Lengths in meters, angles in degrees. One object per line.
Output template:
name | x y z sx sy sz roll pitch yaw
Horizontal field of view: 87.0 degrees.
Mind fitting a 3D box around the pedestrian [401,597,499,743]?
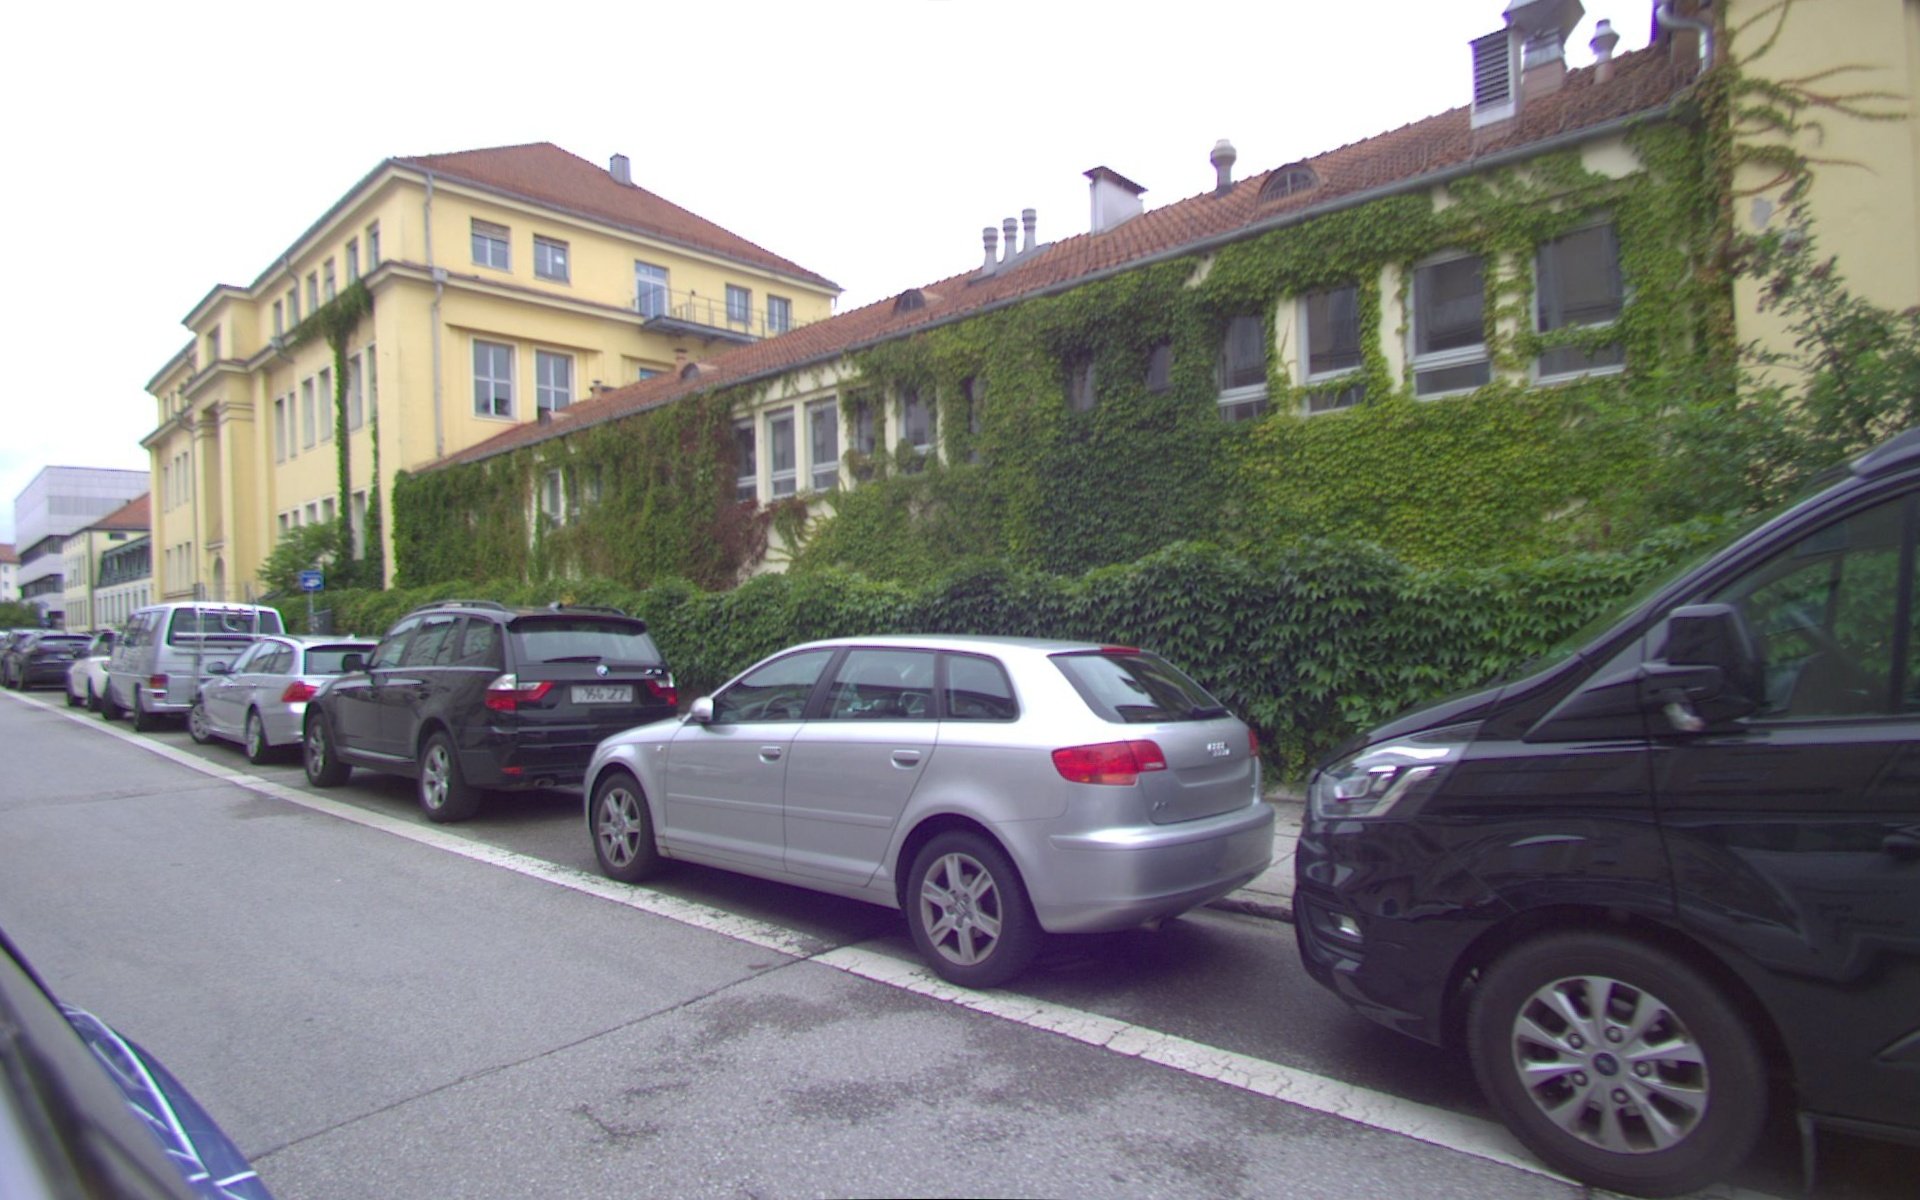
pedestrian | -6.491 0.865 12.880 0.872 1.768 0.834 -3 -2 43

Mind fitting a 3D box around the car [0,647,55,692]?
car | -31.746 2.316 33.675 4.598 1.419 1.755 -3 -5 40

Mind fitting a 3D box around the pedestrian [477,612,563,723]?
pedestrian | -6.325 0.952 14.557 0.872 1.506 0.834 -3 -2 43

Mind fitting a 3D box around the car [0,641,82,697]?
car | -27.508 2.017 29.918 4.271 1.514 1.750 -3 -4 42

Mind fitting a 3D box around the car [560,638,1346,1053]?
car | -0.280 0.957 5.352 3.998 1.376 1.689 -3 -6 40

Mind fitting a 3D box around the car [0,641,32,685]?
car | -37.514 2.430 39.128 4.296 1.653 1.763 -3 -5 40

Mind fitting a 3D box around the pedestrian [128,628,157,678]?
pedestrian | -30.801 2.006 38.142 0.766 1.838 0.782 0 -2 -45

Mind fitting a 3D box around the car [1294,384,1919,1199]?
car | 3.417 0.527 2.386 4.614 1.994 1.907 -3 -4 37

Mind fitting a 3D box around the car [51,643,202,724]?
car | -16.185 1.569 19.606 3.557 1.420 1.649 -3 -4 41

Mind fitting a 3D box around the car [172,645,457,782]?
car | -8.068 1.291 12.468 4.490 1.388 1.784 -3 -6 42

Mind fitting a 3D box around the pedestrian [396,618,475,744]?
pedestrian | -7.289 1.101 14.065 0.872 1.665 0.675 -3 -2 41

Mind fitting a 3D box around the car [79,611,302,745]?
car | -12.343 1.223 16.105 4.879 1.812 1.873 -3 -6 42

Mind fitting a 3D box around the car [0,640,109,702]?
car | -23.756 1.841 26.363 4.217 1.493 1.699 -3 -6 41

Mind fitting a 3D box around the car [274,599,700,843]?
car | -4.306 0.928 8.866 4.488 1.619 1.684 -3 -5 41
